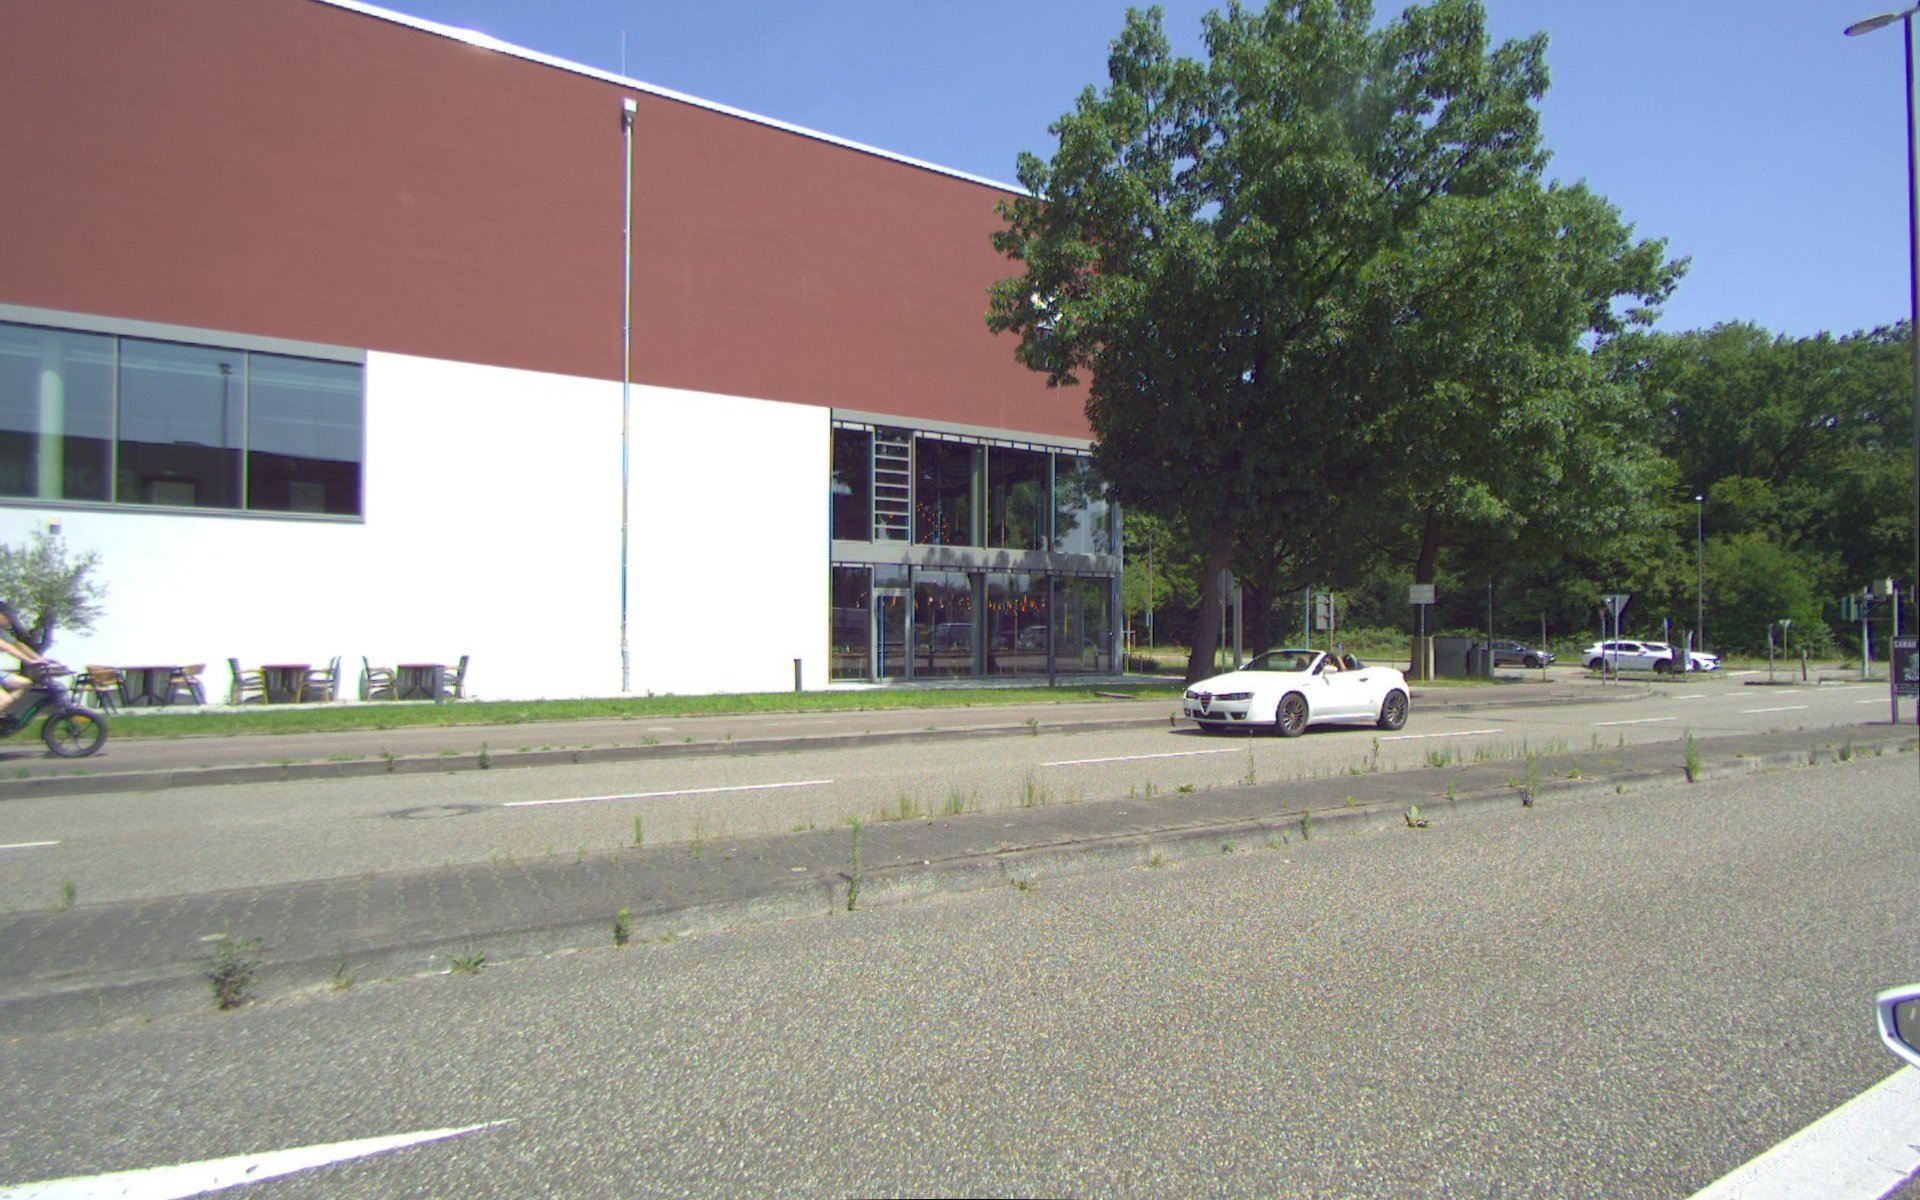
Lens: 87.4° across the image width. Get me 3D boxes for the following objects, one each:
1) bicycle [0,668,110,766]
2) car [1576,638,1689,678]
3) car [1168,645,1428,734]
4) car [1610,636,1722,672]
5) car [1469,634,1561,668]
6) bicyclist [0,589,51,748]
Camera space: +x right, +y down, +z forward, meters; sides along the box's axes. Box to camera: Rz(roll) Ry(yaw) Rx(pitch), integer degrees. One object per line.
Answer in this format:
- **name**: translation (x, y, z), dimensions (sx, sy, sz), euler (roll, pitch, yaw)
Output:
- **bicycle**: translation (-10.205, 1.244, 10.709), dimensions (1.640, 0.982, 0.614), euler (1, -2, -30)
- **car**: translation (33.401, 2.865, 49.996), dimensions (1.794, 1.704, 4.338), euler (2, 0, -37)
- **car**: translation (5.602, 1.405, 16.528), dimensions (4.252, 1.279, 1.710), euler (1, -4, -31)
- **car**: translation (36.549, 2.845, 52.101), dimensions (1.794, 1.703, 4.340), euler (2, -6, -37)
- **car**: translation (32.183, 2.938, 58.343), dimensions (1.796, 1.704, 4.332), euler (2, 0, -41)
- **bicyclist**: translation (-10.328, 0.713, 10.630), dimensions (0.913, 1.652, 0.605), euler (1, -2, -30)
